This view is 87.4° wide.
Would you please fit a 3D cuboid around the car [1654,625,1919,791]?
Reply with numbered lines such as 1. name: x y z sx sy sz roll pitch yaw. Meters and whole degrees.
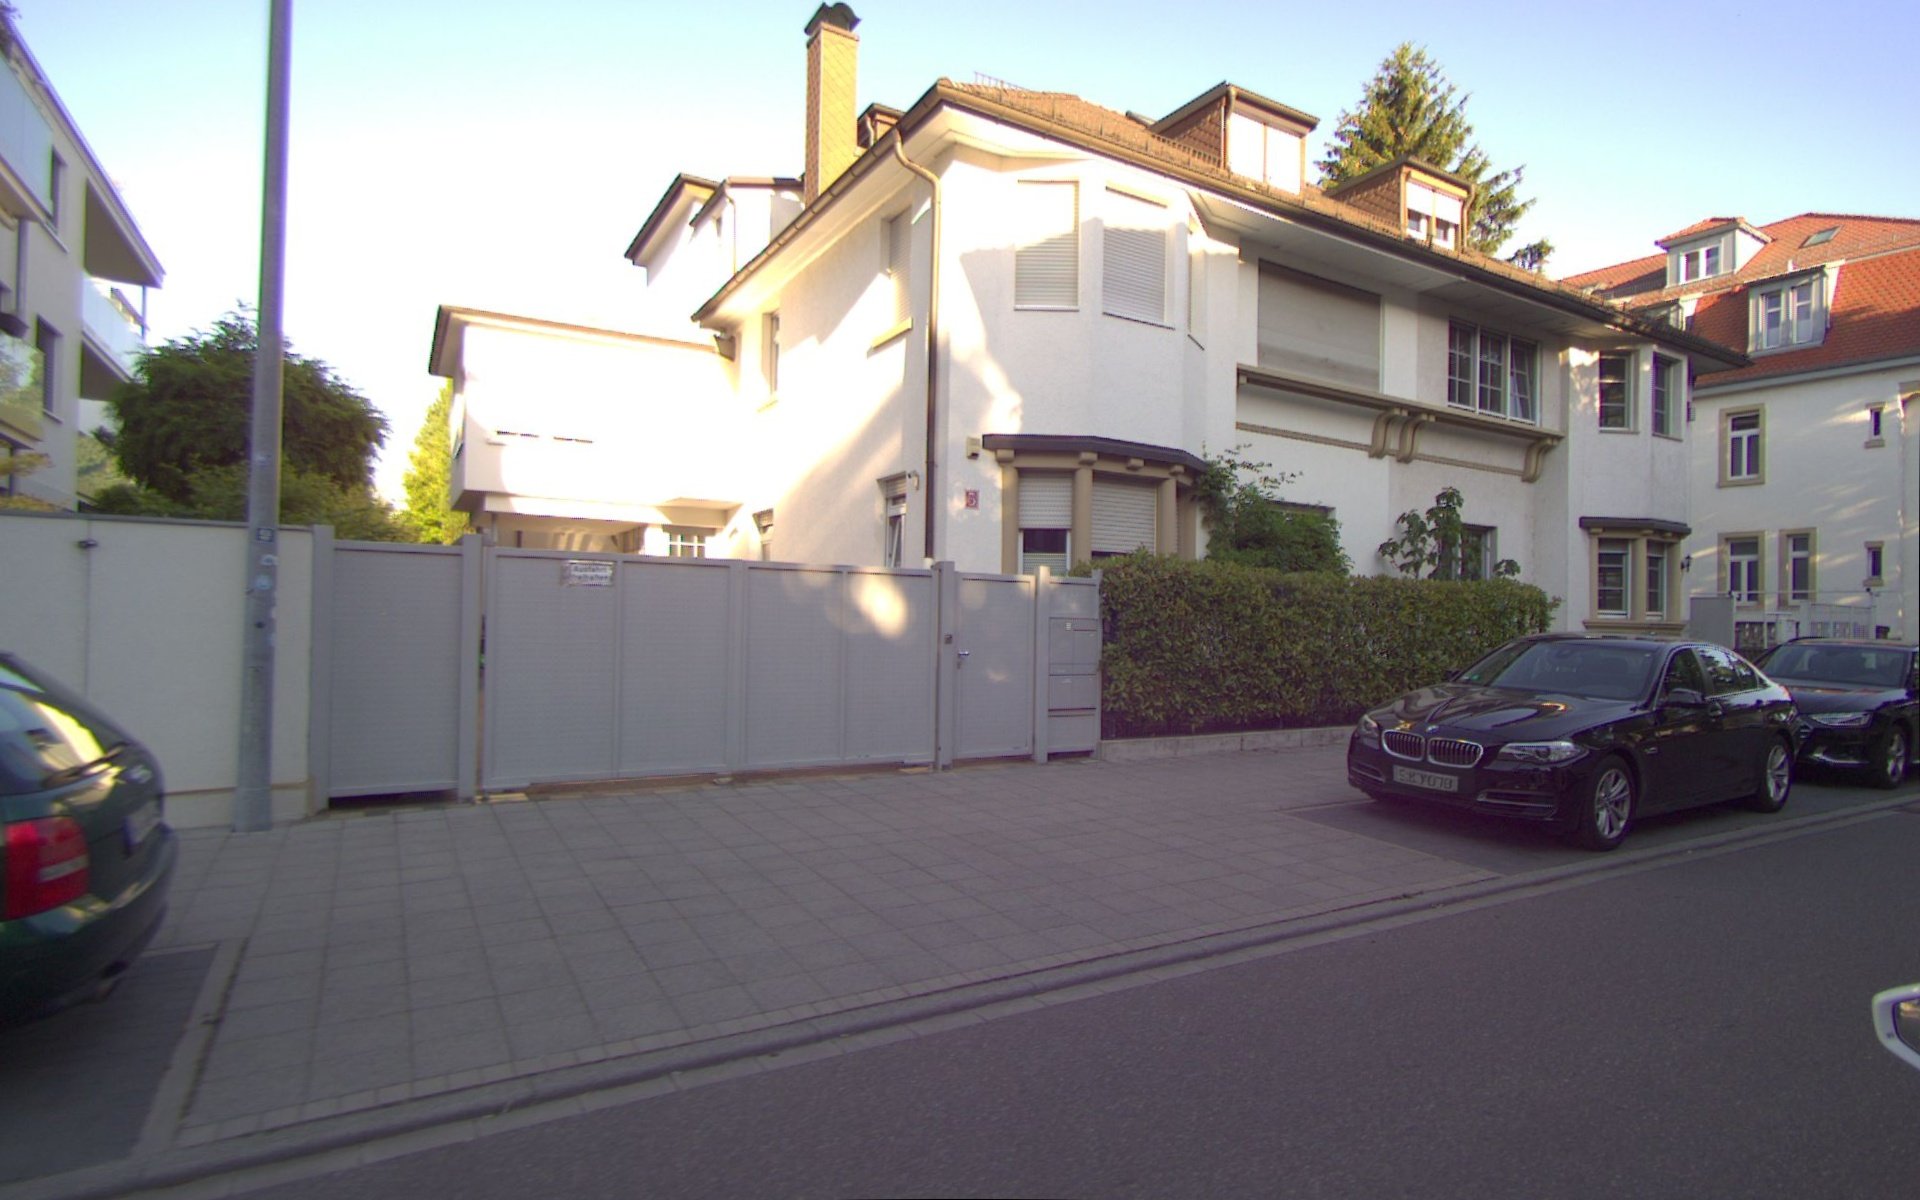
1. car: 10.017 1.113 11.368 4.645 1.517 1.775 2 -1 -31

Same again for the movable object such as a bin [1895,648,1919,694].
1. movable object such as a bin: 24.185 1.799 25.484 0.583 1.122 0.525 3 -1 -31

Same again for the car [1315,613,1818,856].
1. car: 5.223 0.940 8.437 4.606 1.517 1.843 2 -1 -34

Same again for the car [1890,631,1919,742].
1. car: 14.973 1.246 14.230 3.710 1.508 1.651 2 -1 -31

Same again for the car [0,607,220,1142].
1. car: -4.629 0.716 2.643 4.094 1.466 1.749 2 -1 -31
